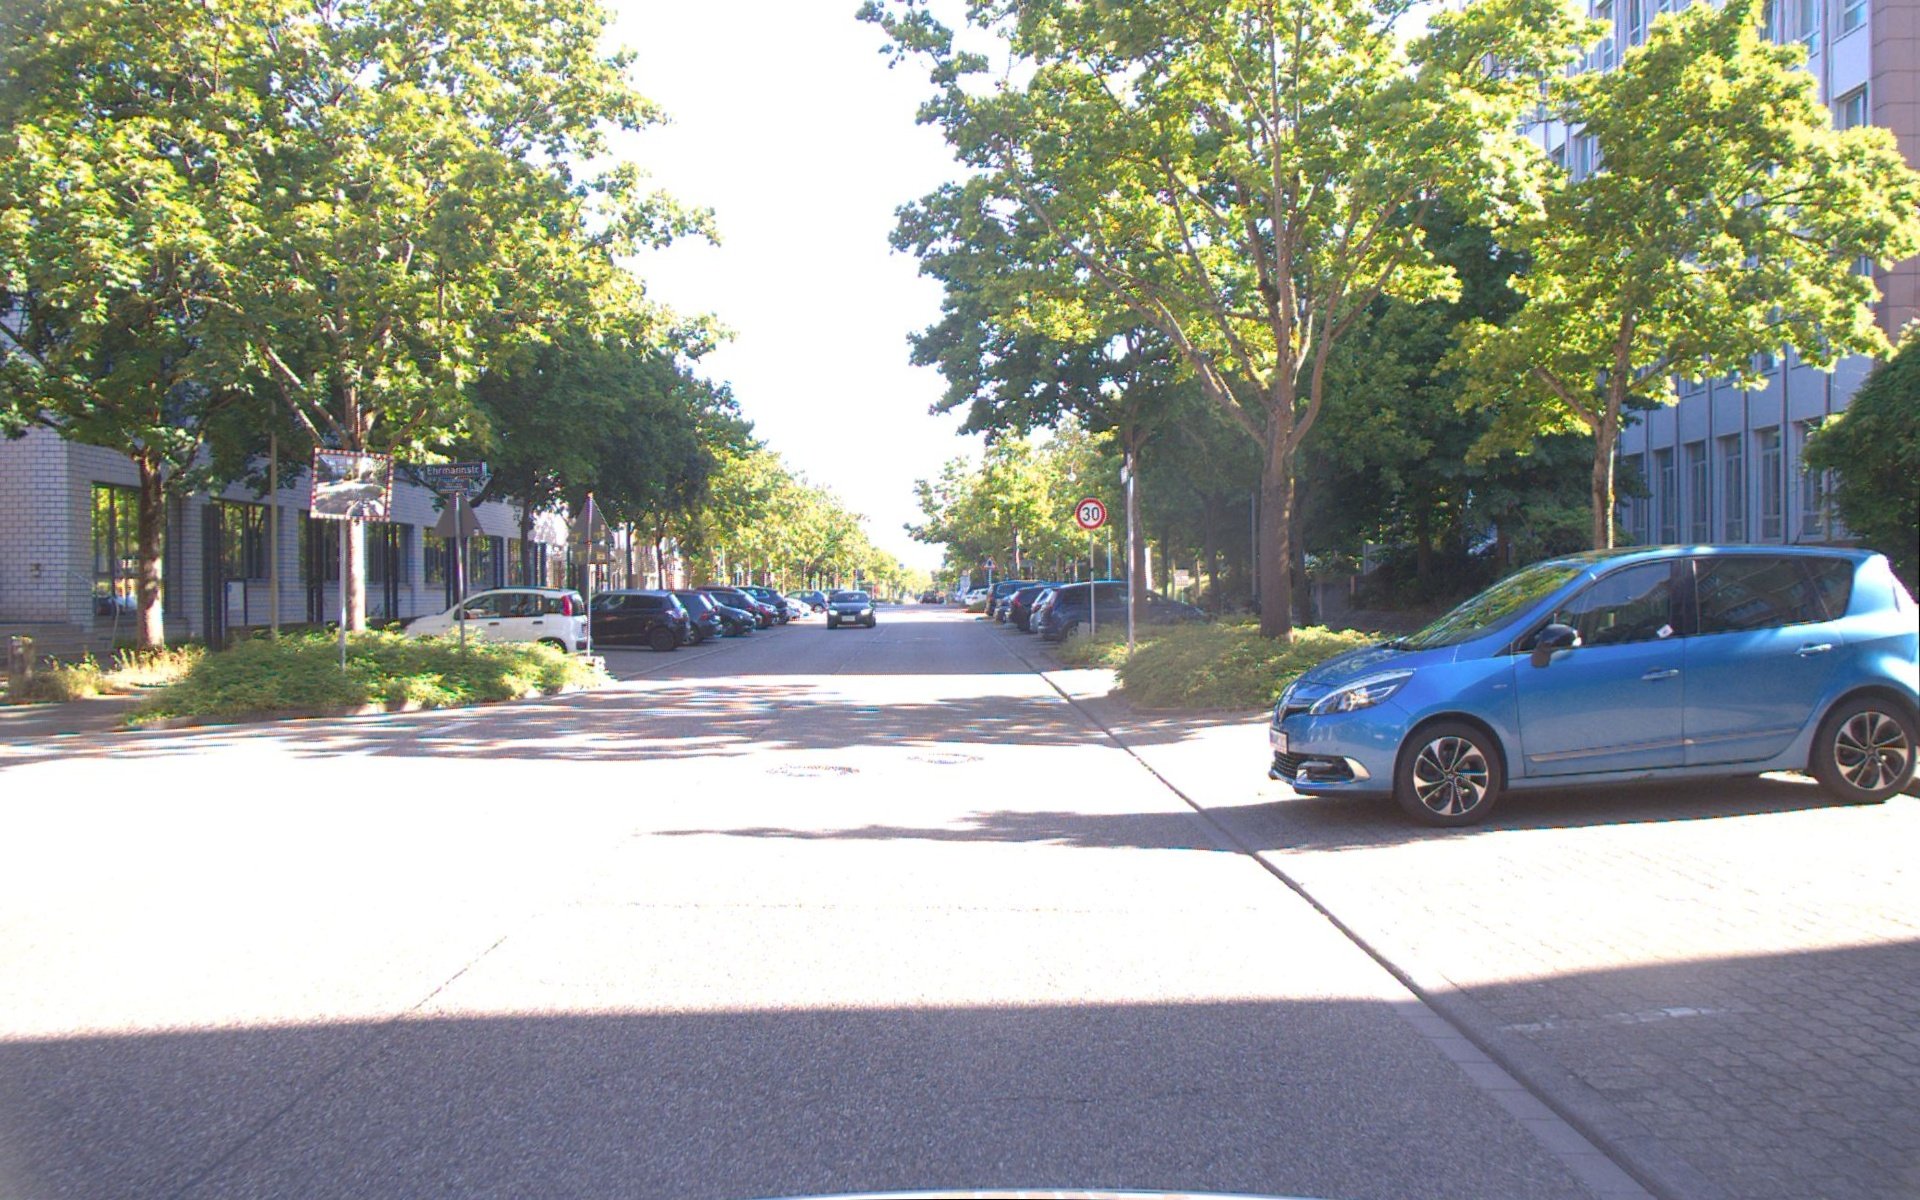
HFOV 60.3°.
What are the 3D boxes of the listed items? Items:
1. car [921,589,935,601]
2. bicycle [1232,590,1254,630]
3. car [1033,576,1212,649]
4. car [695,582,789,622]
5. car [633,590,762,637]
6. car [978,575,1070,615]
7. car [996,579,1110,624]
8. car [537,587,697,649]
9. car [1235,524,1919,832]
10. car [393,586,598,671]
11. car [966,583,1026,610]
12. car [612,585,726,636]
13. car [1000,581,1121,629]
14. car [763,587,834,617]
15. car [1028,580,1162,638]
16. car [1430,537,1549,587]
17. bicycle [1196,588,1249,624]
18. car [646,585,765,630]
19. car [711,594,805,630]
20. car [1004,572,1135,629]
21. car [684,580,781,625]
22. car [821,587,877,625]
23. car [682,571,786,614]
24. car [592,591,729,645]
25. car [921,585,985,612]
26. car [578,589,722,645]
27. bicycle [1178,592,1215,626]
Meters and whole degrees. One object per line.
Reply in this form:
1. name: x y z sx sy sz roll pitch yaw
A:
1. car: -4.374 -0.729 227.527 1.894 1.625 4.365 -1 0 -1
2. bicycle: 7.796 0.276 45.575 0.371 1.065 1.886 -2 0 4
3. car: 4.000 0.292 41.166 4.183 1.662 1.857 -2 0 -4
4. car: -9.820 0.091 74.748 3.904 1.683 1.861 -1 0 1
5. car: -8.434 0.422 53.375 3.907 1.437 1.665 1 0 -3
6. car: 2.808 -0.219 72.751 3.817 1.685 1.856 -1 0 -6
7. car: 3.383 0.054 60.727 3.965 1.517 1.548 -2 0 -5
8. car: -8.563 0.443 41.496 3.657 1.489 1.676 -1 0 -2
9. car: 4.219 0.452 11.111 4.317 1.646 1.911 -3 0 -2
10. car: -8.888 0.567 31.868 3.509 1.577 1.636 0 -2 -4
11. car: 2.440 -0.229 112.943 3.910 1.823 1.997 -1 0 -6
12. car: -8.994 0.307 51.271 3.353 1.488 1.694 1 1 -6
13. car: 3.487 0.165 57.711 3.968 1.619 1.547 -1 0 -8
14. car: -9.576 0.111 98.234 3.904 1.683 1.861 -1 0 1
15. car: 3.761 0.239 46.545 3.562 1.492 1.632 -2 0 -3
16. car: 20.754 -1.469 64.950 3.992 1.814 1.998 1 0 -5
17. bicycle: 8.073 0.192 50.937 0.377 1.097 1.759 -1 0 -42
18. car: -8.656 0.253 56.365 3.912 1.431 1.602 1 0 -9
19. car: -8.652 0.496 71.005 3.814 1.489 1.857 -1 0 -2
20. car: 3.592 0.019 54.341 4.160 1.581 1.921 -3 0 3
21. car: -8.775 0.096 63.908 3.468 1.686 1.761 -1 -1 0
22. car: -4.318 0.208 64.868 1.775 1.440 4.109 0 0 2
23. car: -9.136 -0.288 67.147 3.904 1.614 1.765 -1 -1 2
24. car: -8.808 0.521 48.945 3.790 1.482 1.753 1 2 -4
25. car: -0.447 -0.105 106.160 3.910 1.653 1.997 -1 0 -6
26. car: -8.614 0.474 46.141 3.685 1.470 1.631 1 0 -1
27. bicycle: 7.836 0.281 54.918 0.373 1.097 1.775 -1 0 -21
